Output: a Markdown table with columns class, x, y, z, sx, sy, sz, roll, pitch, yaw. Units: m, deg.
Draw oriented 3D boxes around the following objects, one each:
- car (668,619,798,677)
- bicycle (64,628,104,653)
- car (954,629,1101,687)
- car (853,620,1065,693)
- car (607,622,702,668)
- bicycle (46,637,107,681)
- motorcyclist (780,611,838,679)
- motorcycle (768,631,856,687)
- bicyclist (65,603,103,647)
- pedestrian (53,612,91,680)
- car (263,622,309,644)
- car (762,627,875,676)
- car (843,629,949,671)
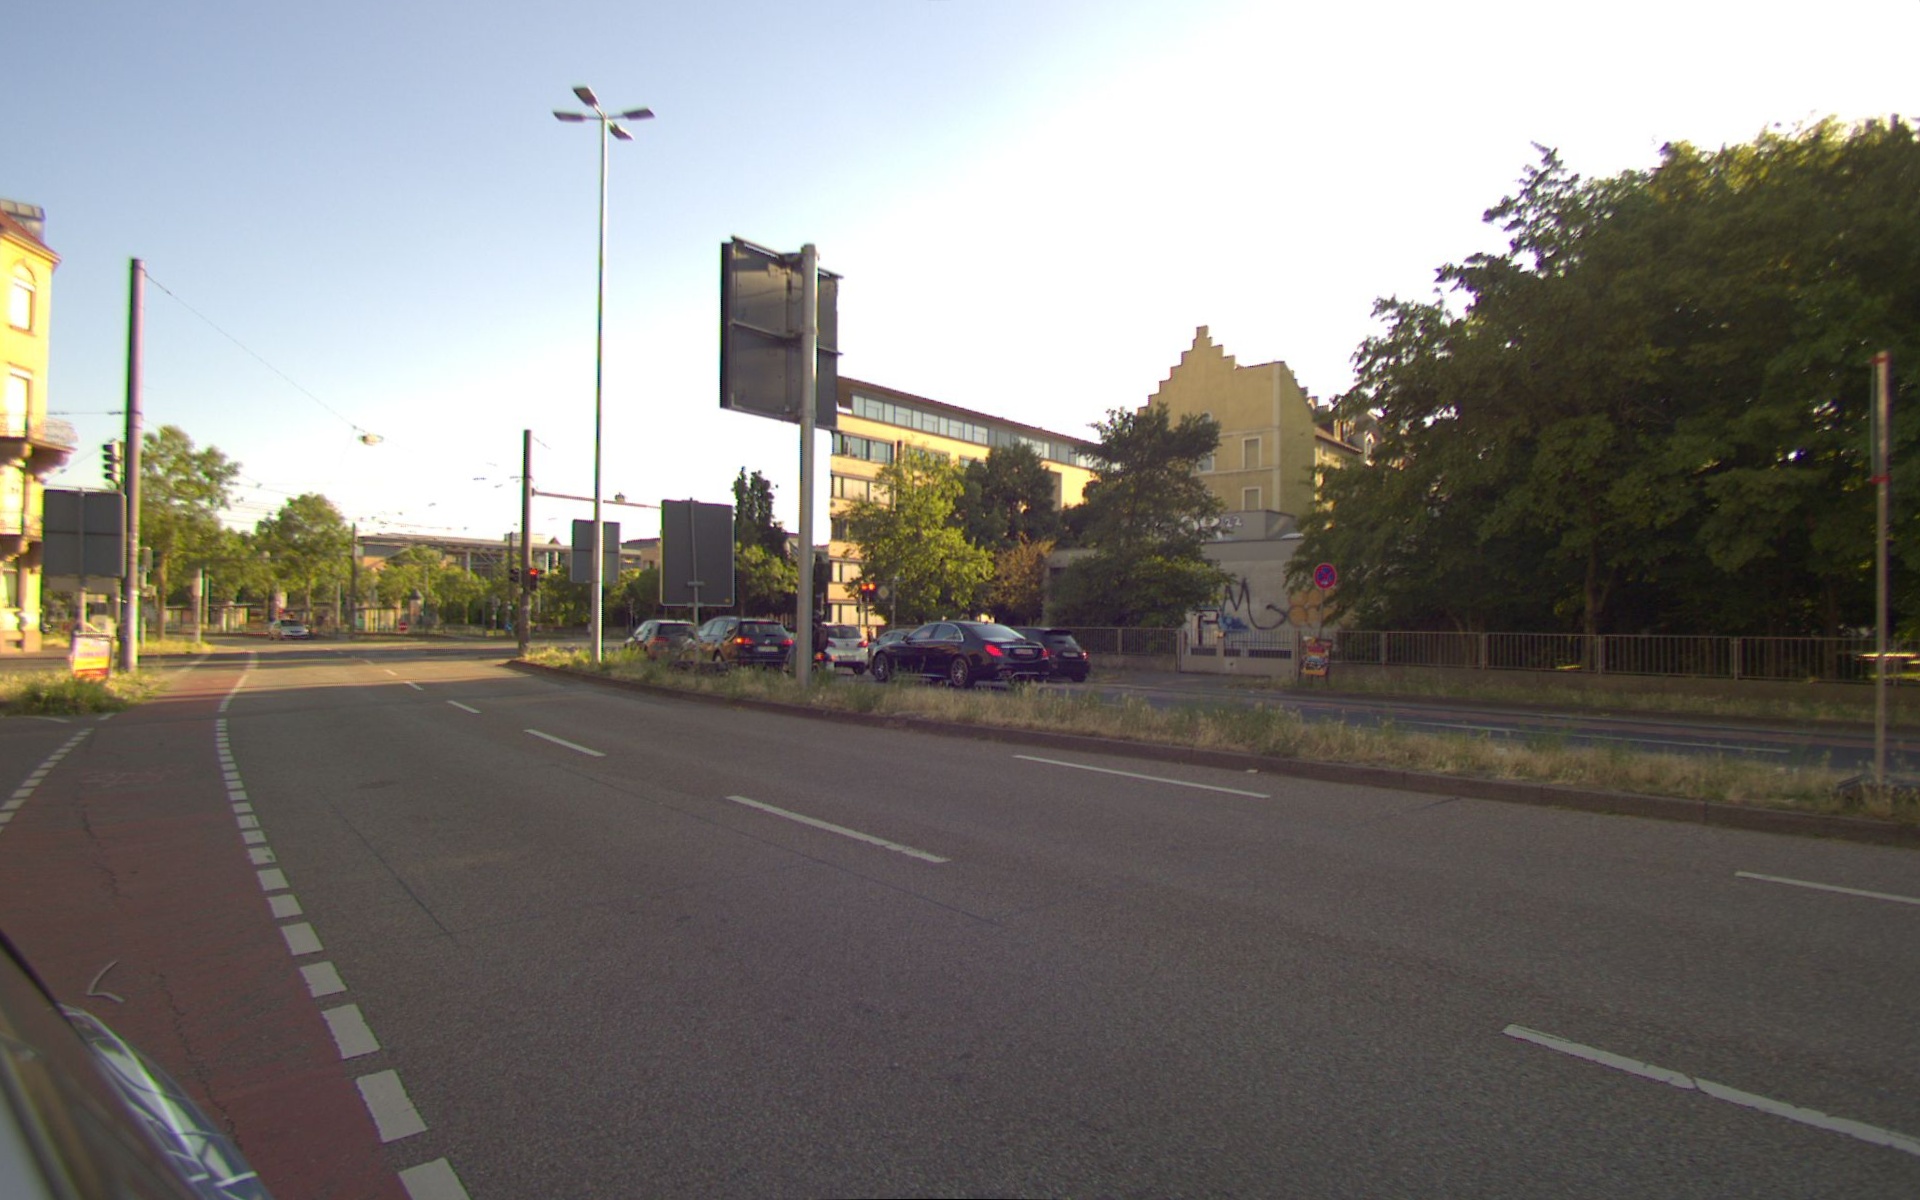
| class | x | y | z | sx | sy | sz | roll | pitch | yaw |
| --- | --- | --- | --- | --- | --- | --- | --- | --- | --- |
| car | -5.740 | 1.161 | 25.231 | 1.695 | 1.306 | 4.388 | 2 | -2 | -33 |
| bicycle | -37.072 | 1.691 | 42.795 | 1.056 | 1.032 | 2.977 | 2 | -3 | -45 |
| car | 1.788 | 1.537 | 28.004 | 1.830 | 1.475 | 4.007 | 1 | -2 | -39 |
| car | -0.159 | 1.228 | 23.342 | 1.968 | 1.507 | 5.301 | 2 | -2 | -40 |
| car | -9.364 | 1.342 | 30.792 | 1.695 | 1.306 | 4.261 | 2 | -2 | -32 |
| bicycle | -21.647 | 1.434 | 24.819 | 0.393 | 1.037 | 1.676 | 1 | -2 | -15 |
| motorcyclist | -3.226 | 0.944 | 21.552 | 0.840 | 1.409 | 1.064 | 2 | -2 | -34 |
| motorcycle | -3.174 | 1.215 | 21.463 | 0.847 | 1.116 | 2.476 | 2 | -2 | -34 |
| bicyclist | -37.052 | 1.060 | 42.813 | 1.303 | 1.856 | 1.057 | -1 | -3 | 44 |
| pedestrian | -21.777 | 1.123 | 24.832 | 0.481 | 1.644 | 0.527 | 1 | -2 | -15 |
| car | -50.117 | 2.460 | 75.263 | 4.000 | 1.586 | 1.972 | -1 | -2 | 43 |
| car | -4.231 | 1.479 | 29.838 | 1.696 | 1.329 | 3.904 | 2 | -2 | -36 |
| car | -2.186 | 1.630 | 33.593 | 1.696 | 1.306 | 3.904 | 2 | -2 | -36 |
